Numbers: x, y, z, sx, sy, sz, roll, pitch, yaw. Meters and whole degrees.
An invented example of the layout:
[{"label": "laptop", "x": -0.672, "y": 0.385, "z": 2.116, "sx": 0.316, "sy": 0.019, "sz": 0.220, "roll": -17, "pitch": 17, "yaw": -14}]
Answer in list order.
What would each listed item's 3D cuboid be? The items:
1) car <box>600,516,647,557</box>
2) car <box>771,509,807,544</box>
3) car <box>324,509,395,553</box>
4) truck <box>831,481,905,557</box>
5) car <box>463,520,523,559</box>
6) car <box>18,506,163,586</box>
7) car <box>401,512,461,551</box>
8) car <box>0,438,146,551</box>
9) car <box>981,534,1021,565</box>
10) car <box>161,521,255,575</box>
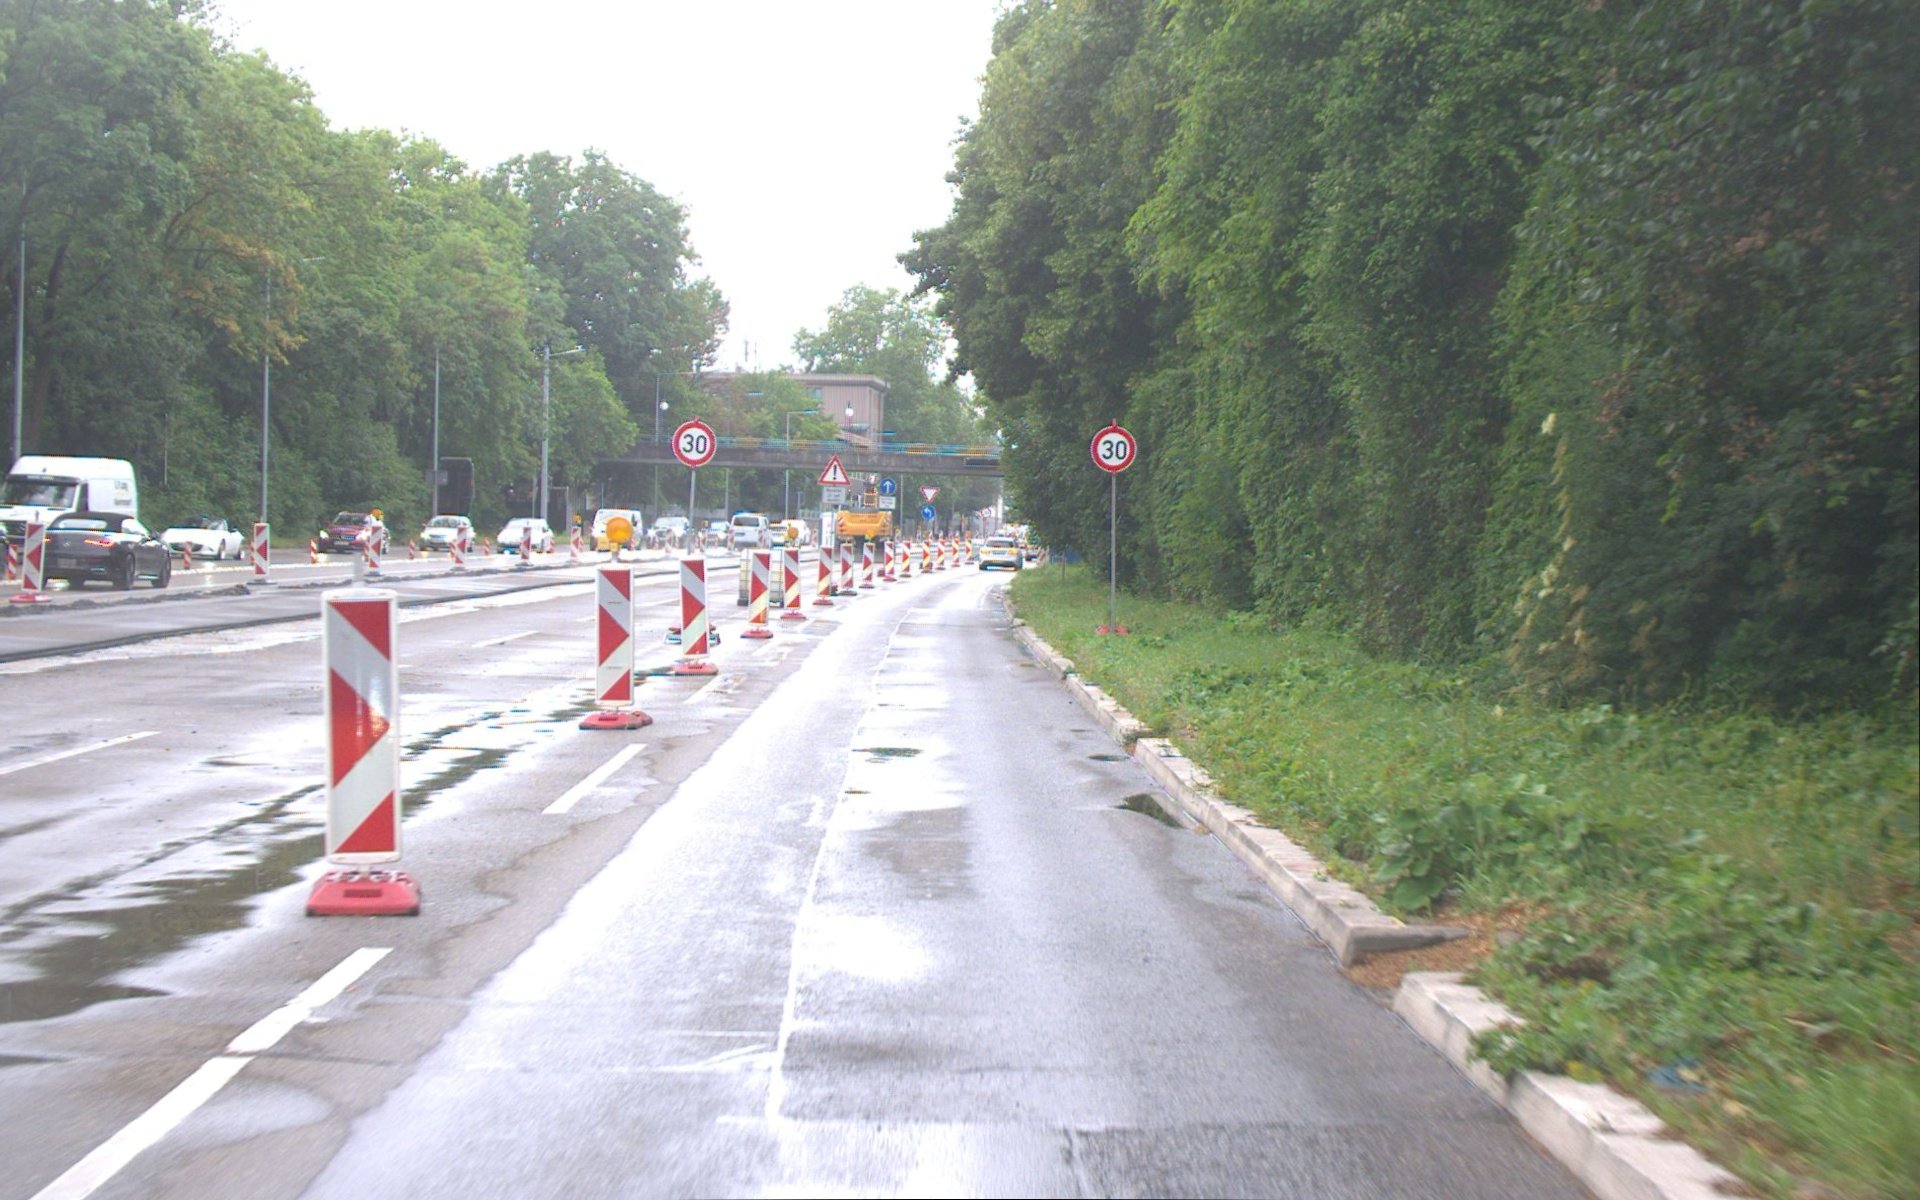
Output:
[{"label": "car", "x": -15.445, "y": -2.927, "z": 157.821, "sx": 1.670, "sy": 1.802, "sz": 4.320, "roll": 1, "pitch": 1, "yaw": 1}, {"label": "car", "x": -9.394, "y": -4.047, "z": 188.942, "sx": 1.670, "sy": 1.802, "sz": 4.321, "roll": 1, "pitch": 2, "yaw": 1}, {"label": "car", "x": -20.981, "y": -2.420, "z": 120.248, "sx": 1.670, "sy": 1.480, "sz": 4.320, "roll": 1, "pitch": 1, "yaw": 1}, {"label": "truck", "x": -4.389, "y": -3.929, "z": 166.666, "sx": 3.259, "sy": 3.485, "sz": 13.871, "roll": 1, "pitch": 1, "yaw": 0}, {"label": "car", "x": -18.235, "y": -2.383, "z": 134.418, "sx": 1.670, "sy": 1.480, "sz": 4.320, "roll": 1, "pitch": 1, "yaw": 1}, {"label": "car", "x": -15.955, "y": -1.009, "z": 63.254, "sx": 1.607, "sy": 1.399, "sz": 4.041, "roll": 1, "pitch": 1, "yaw": 1}, {"label": "car", "x": -20.929, "y": -2.731, "z": 136.104, "sx": 1.670, "sy": 1.480, "sz": 4.050, "roll": 1, "pitch": 1, "yaw": 1}, {"label": "car", "x": -21.500, "y": -2.507, "z": 82.699, "sx": 2.099, "sy": 2.571, "sz": 6.854, "roll": 1, "pitch": 1, "yaw": 1}, {"label": "car", "x": 1.815, "y": -2.229, "z": 150.875, "sx": 1.697, "sy": 1.331, "sz": 3.491, "roll": -1, "pitch": 1, "yaw": 1}, {"label": "car", "x": -21.350, "y": -1.490, "z": 97.802, "sx": 1.670, "sy": 1.480, "sz": 4.320, "roll": 1, "pitch": 1, "yaw": 1}]
